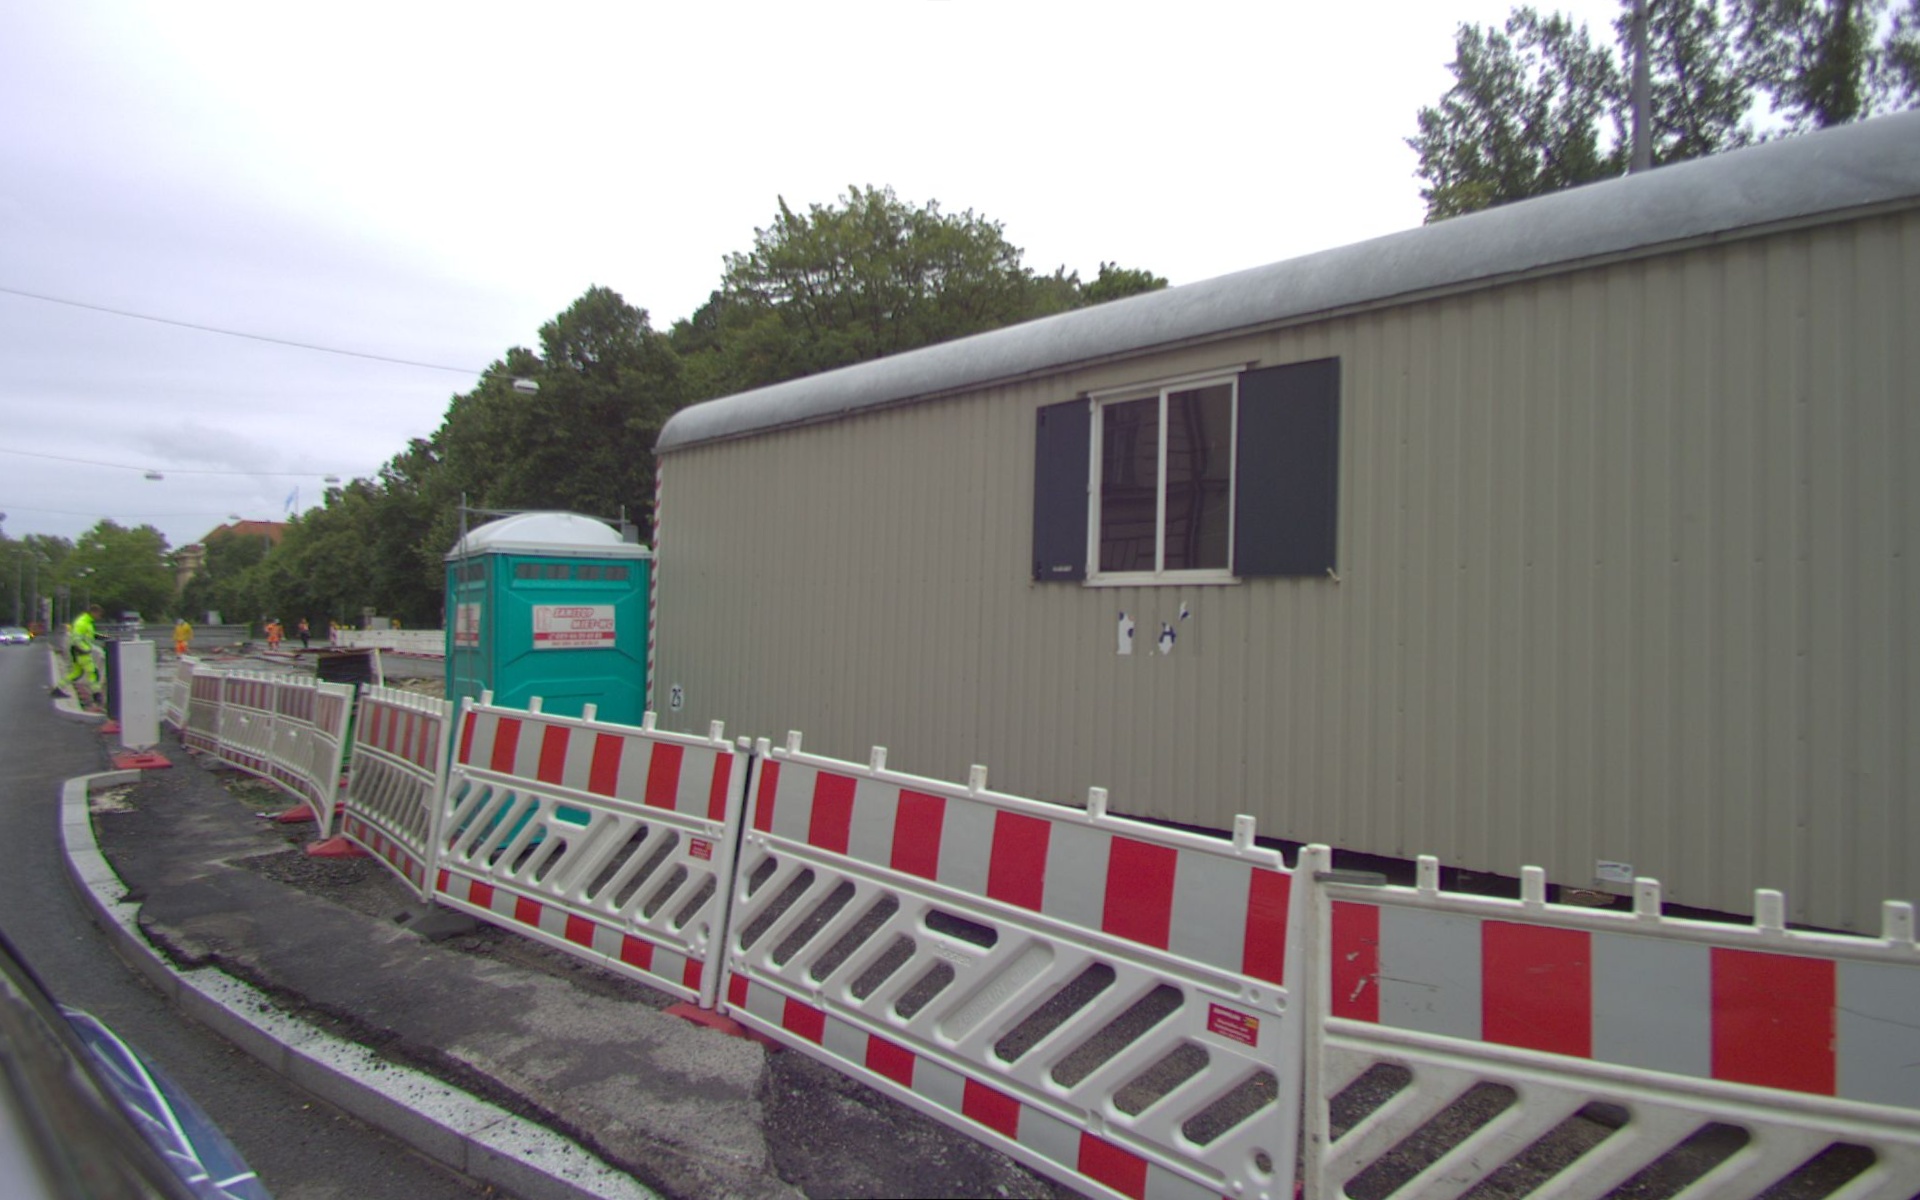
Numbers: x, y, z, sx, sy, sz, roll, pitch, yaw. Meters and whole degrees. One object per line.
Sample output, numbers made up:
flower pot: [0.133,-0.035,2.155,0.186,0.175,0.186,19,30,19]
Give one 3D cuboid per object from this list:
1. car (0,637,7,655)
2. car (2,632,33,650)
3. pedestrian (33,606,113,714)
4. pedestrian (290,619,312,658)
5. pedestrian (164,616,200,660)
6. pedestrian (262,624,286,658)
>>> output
car: [-111.611,5.343,117.018,1.969,2.029,4.005,0,0,-42]
car: [-82.973,3.612,89.085,3.999,1.481,1.735,-1,-1,43]
pedestrian: [-15.650,1.039,17.879,0.977,1.816,0.817,-2,-1,-38]
pedestrian: [-33.770,1.959,51.873,0.657,1.985,0.808,1,-2,-17]
pedestrian: [-33.380,1.618,43.450,0.847,1.850,0.876,1,-2,-7]
pedestrian: [-34.783,2.062,51.284,0.886,1.701,0.913,2,-3,-40]
